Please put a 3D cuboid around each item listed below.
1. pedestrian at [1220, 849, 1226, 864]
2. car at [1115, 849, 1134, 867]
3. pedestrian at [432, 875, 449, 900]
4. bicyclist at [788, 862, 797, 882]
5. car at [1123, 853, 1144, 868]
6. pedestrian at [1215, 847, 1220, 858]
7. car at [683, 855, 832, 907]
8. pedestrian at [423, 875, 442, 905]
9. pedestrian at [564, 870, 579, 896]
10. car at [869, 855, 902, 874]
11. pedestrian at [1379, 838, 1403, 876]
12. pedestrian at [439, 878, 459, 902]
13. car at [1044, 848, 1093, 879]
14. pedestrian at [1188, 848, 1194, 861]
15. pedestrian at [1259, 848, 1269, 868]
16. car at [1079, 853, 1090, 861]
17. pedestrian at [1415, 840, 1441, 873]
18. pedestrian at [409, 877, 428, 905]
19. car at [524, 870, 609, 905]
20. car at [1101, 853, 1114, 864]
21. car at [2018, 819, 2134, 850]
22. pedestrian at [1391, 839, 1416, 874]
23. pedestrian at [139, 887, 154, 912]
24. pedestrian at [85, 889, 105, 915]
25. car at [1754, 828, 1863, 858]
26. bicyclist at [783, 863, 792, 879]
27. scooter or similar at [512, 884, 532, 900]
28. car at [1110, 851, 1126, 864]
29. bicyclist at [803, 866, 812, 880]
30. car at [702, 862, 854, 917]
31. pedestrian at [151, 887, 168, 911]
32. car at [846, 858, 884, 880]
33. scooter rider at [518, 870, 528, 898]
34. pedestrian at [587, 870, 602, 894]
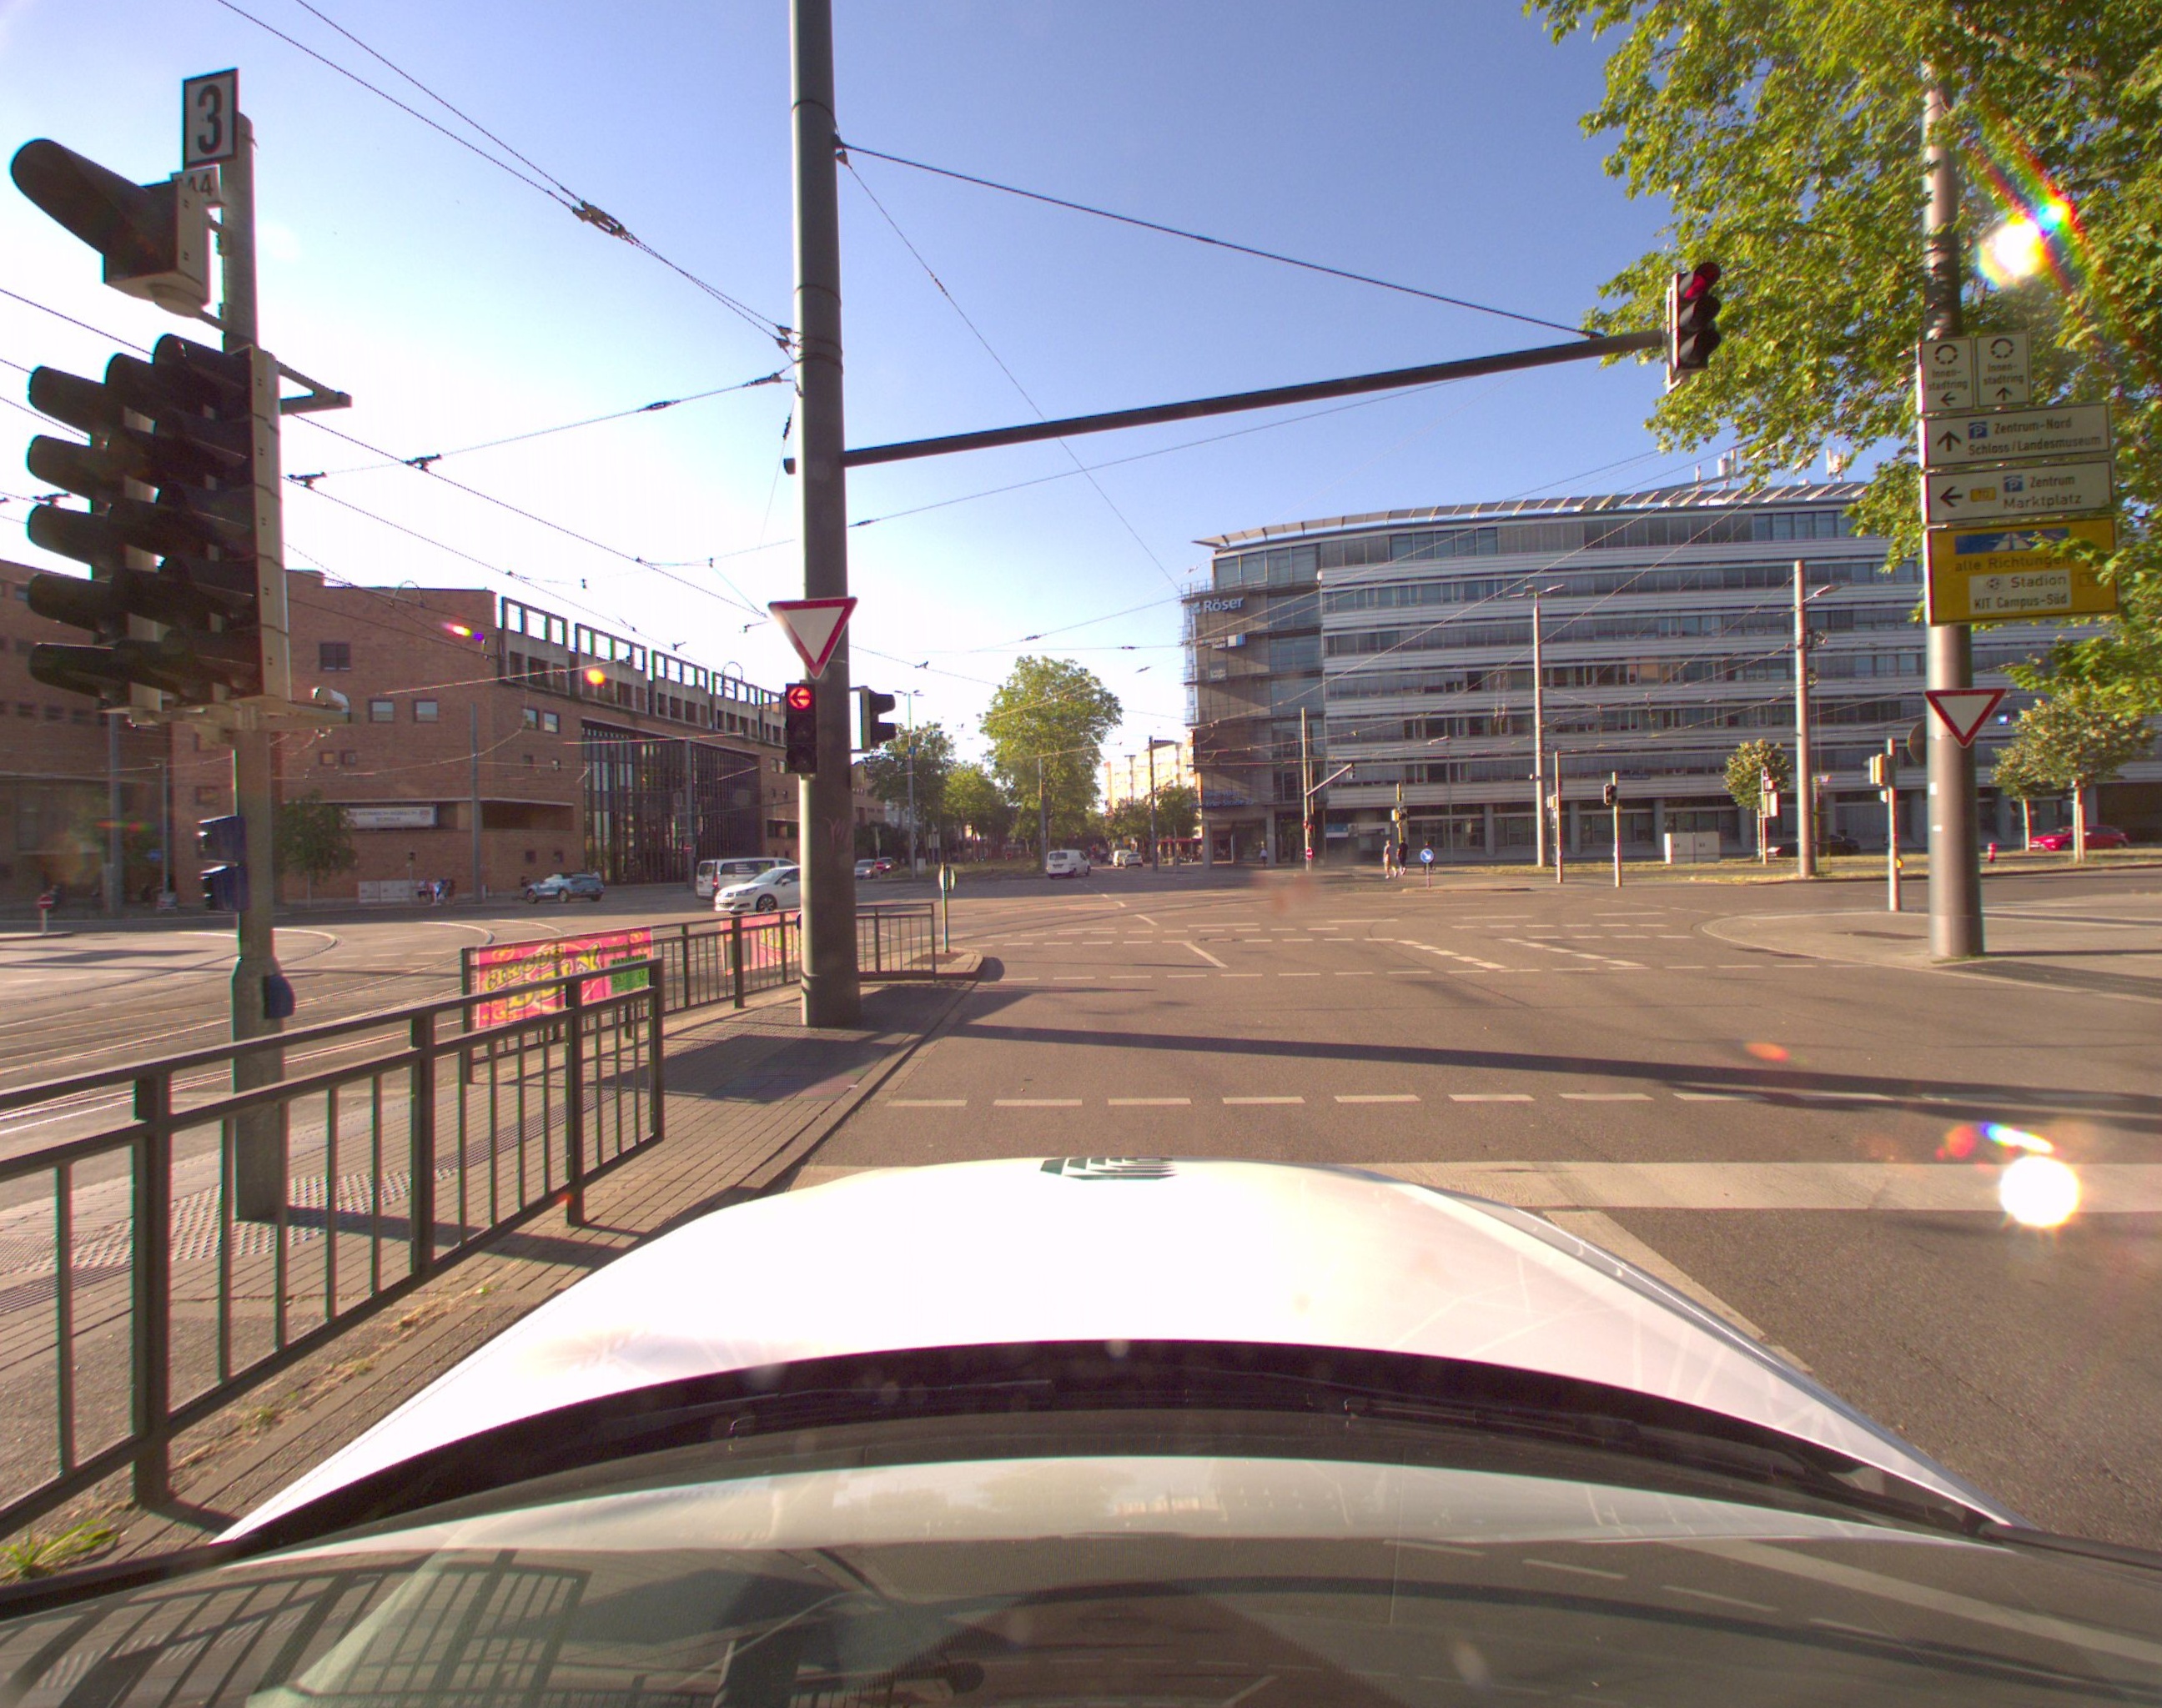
[{"bbox_3d":[14.354,0.237,82.357,0.608,1.507,0.580,-2,0,9],"label":"pedestrian"},{"bbox_3d":[4.740,0.454,89.641,1.986,1.860,4.002,-2,0,2],"label":"car"},{"bbox_3d":[-38.039,1.967,48.359,0.568,1.453,0.612,-2,0,-13],"label":"pedestrian"},{"bbox_3d":[-23.513,1.432,66.434,0.456,1.603,0.581,-2,0,1],"label":"bicyclist"},{"bbox_3d":[5.287,0.624,82.823,1.986,1.376,4.002,-2,0,2],"label":"car"},{"bbox_3d":[21.761,-0.294,129.645,0.741,1.714,0.612,-2,0,1],"label":"pedestrian"},{"bbox_3d":[-13.247,1.059,33.642,1.942,1.848,5.363,-2,0,43],"label":"car"},{"bbox_3d":[-37.555,2.081,47.142,0.597,1.648,0.549,-2,0,1],"label":"pedestrian"},{"bbox_3d":[-34.057,1.957,54.412,0.567,1.683,0.552,-2,0,21],"label":"pedestrian"},{"bbox_3d":[-18.119,0.965,75.528,1.987,1.640,4.001,-2,0,1],"label":"car"},{"bbox_3d":[14.730,0.141,38.727,0.859,1.788,0.873,-2,0,7],"label":"pedestrian"},{"bbox_3d":[-36.539,2.073,47.094,0.597,1.339,0.684,-2,0,17],"label":"pedestrian"},{"bbox_3d":[-0.768,0.590,54.277,1.741,1.867,4.548,-2,0,20],"label":"car"},{"bbox_3d":[14.158,0.091,104.848,0.741,1.714,0.612,-2,0,1],"label":"pedestrian"},{"bbox_3d":[13.869,0.293,61.689,0.609,1.507,0.579,-2,0,4],"label":"pedestrian"},{"bbox_3d":[0.698,0.472,154.983,1.791,1.442,4.002,-2,0,2],"label":"car"},{"bbox_3d":[17.197,0.118,40.351,0.943,1.564,0.899,-2,0,9],"label":"pedestrian"},{"bbox_3d":[-38.464,2.138,47.294,0.594,1.614,0.589,-2,0,1],"label":"pedestrian"},{"bbox_3d":[-25.682,1.686,40.657,3.673,1.575,2.015,-2,0,28],"label":"car"},{"bbox_3d":[4.089,0.662,126.778,1.986,1.618,4.002,-2,0,2],"label":"car"},{"bbox_3d":[55.529,-1.072,45.520,3.966,1.393,1.789,-4,0,7],"label":"car"},{"bbox_3d":[16.027,0.130,40.467,0.907,1.685,1.038,-2,0,9],"label":"pedestrian"},{"bbox_3d":[-57.817,2.806,50.391,0.583,1.463,0.537,-2,0,34],"label":"pedestrian"},{"bbox_3d":[-57.404,2.779,47.422,0.508,1.463,0.466,-2,0,-6],"label":"pedestrian"},{"bbox_3d":[39.797,-0.596,44.631,4.136,1.398,1.789,-2,0,7],"label":"car"},{"bbox_3d":[-25.056,1.425,69.437,0.503,1.304,0.581,-2,0,1],"label":"bicyclist"},{"bbox_3d":[-33.730,2.278,49.150,0.956,0.899,0.173,-2,0,-45],"label":"scooter or similar"},{"bbox_3d":[4.817,0.482,105.297,1.986,1.618,4.002,-2,0,2],"label":"car"},{"bbox_3d":[-24.307,1.680,72.330,0.503,1.179,0.581,-2,0,1],"label":"bicyclist"},{"bbox_3d":[-9.654,1.097,26.283,1.738,1.488,4.337,-2,0,35],"label":"car"},{"bbox_3d":[-56.958,2.778,50.336,0.549,1.427,0.563,-2,0,33],"label":"pedestrian"},{"bbox_3d":[-18.008,1.220,67.953,1.987,1.640,4.001,-2,0,1],"label":"car"},{"bbox_3d":[-33.714,1.806,49.185,0.441,1.647,0.226,-2,0,-44],"label":"scooter rider"},{"bbox_3d":[-32.907,1.882,55.081,0.605,1.625,0.622,-2,0,29],"label":"pedestrian"}]
